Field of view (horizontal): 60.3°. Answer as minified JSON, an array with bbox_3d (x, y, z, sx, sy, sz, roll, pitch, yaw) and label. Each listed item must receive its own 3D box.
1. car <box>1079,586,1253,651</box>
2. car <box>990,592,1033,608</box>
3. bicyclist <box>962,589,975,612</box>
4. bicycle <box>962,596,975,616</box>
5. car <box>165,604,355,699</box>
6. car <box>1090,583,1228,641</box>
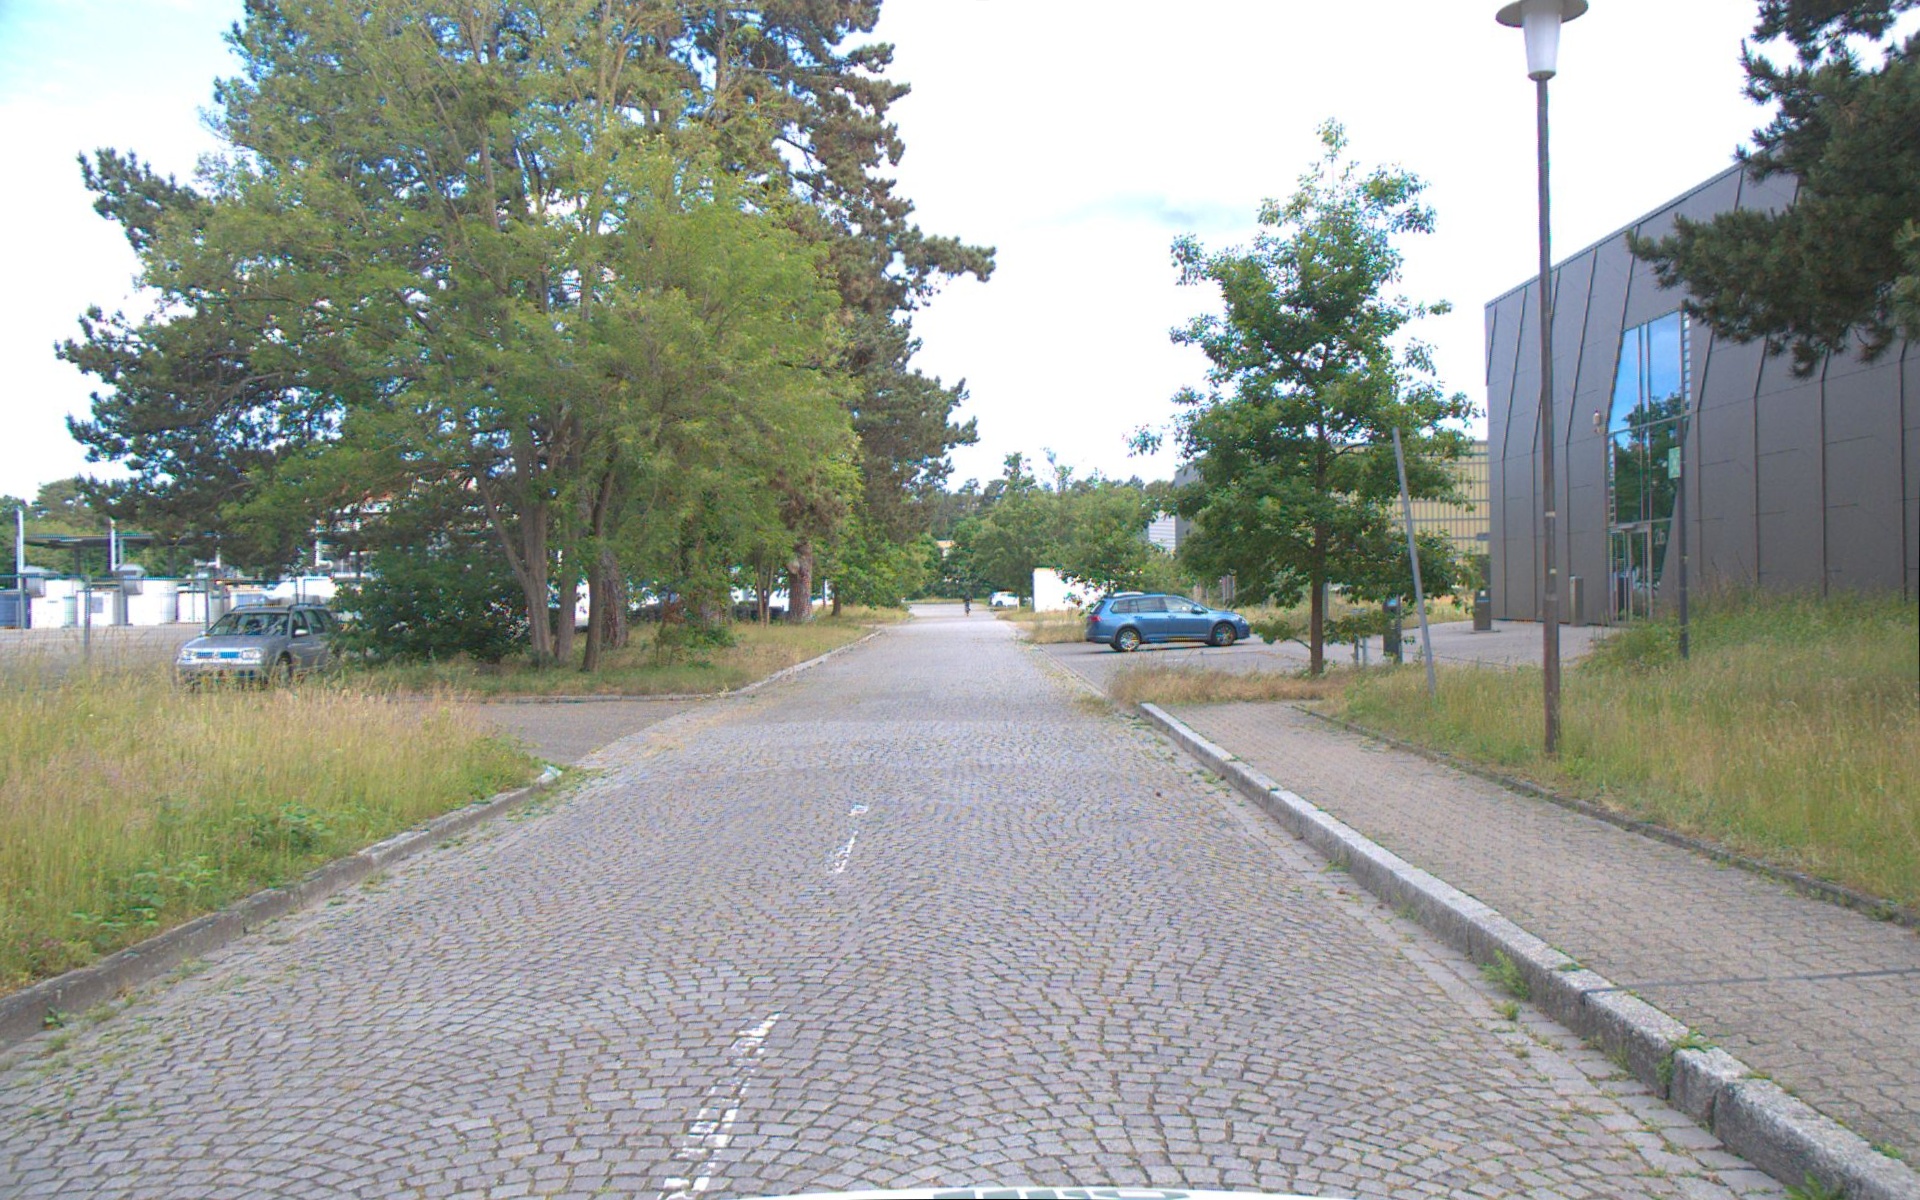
[{"bbox_3d":[5.541,0.492,44.862,4.391,1.488,1.934,-3,0,-3],"label":"car"},{"bbox_3d":[5.098,-0.010,164.678,4.232,1.576,2.000,-1,0,1],"label":"car"},{"bbox_3d":[0.606,0.024,117.951,0.879,1.569,0.868,-1,1,-1],"label":"bicyclist"},{"bbox_3d":[0.604,0.421,117.911,0.807,1.400,2.042,-1,1,-1],"label":"bicycle"},{"bbox_3d":[-12.578,0.871,30.009,1.695,1.457,4.161,-1,1,-1],"label":"car"},{"bbox_3d":[6.265,0.367,52.319,4.025,1.600,1.764,-3,0,-3],"label":"car"}]
